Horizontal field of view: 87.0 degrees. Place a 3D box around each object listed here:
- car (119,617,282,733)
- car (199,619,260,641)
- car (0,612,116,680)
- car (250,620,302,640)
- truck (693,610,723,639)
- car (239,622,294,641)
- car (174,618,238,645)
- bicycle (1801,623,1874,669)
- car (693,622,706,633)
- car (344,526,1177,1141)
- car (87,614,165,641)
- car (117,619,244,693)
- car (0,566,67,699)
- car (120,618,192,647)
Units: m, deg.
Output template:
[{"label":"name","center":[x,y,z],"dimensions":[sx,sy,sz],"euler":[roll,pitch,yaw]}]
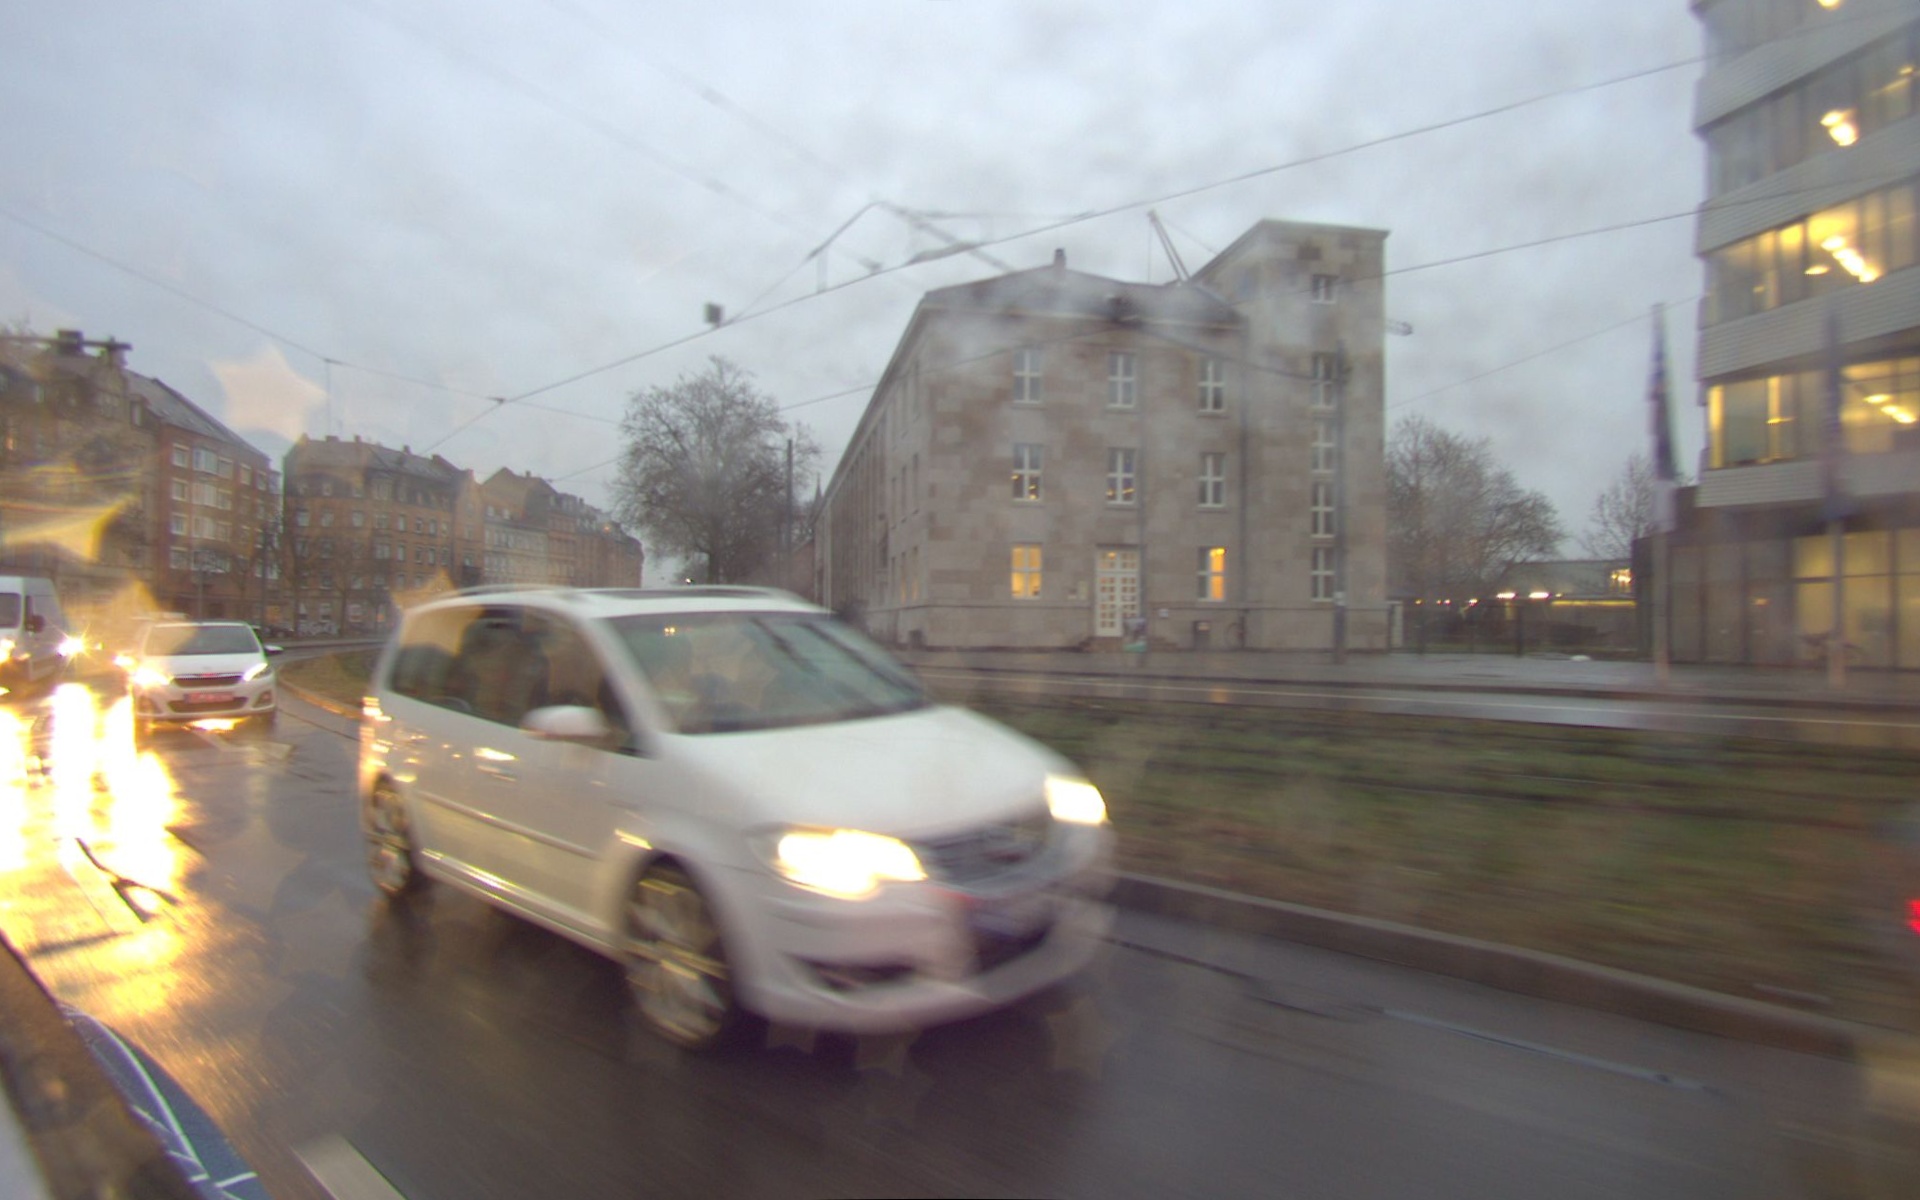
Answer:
[{"label":"car","center":[-10.945,0.972,14.503],"dimensions":[1.664,1.441,3.352],"euler":[1,-1,-40]},{"label":"car","center":[-48.128,1.960,66.735],"dimensions":[3.133,1.424,1.385],"euler":[1,-2,-32]},{"label":"car","center":[-24.350,1.184,27.312],"dimensions":[1.846,1.701,4.182],"euler":[0,-1,-32]},{"label":"car","center":[-50.583,2.213,74.869],"dimensions":[3.133,1.494,1.385],"euler":[1,-2,-32]},{"label":"truck","center":[-18.245,1.786,73.424],"dimensions":[1.809,2.060,4.008],"euler":[0,-2,-10]},{"label":"car","center":[-48.459,2.190,70.776],"dimensions":[3.133,1.293,1.385],"euler":[1,-2,-32]},{"label":"car","center":[-47.584,1.987,63.896],"dimensions":[3.133,1.636,1.449],"euler":[1,-2,-34]},{"label":"bicycle","center":[21.877,1.136,25.245],"dimensions":[1.473,1.136,0.529],"euler":[0,-2,-9]},{"label":"car","center":[-39.295,4.094,152.640],"dimensions":[1.662,1.652,3.656],"euler":[1,-2,-13]},{"label":"car","center":[-1.271,0.657,4.721],"dimensions":[4.223,1.611,1.653],"euler":[-1,-2,43]},{"label":"car","center":[-45.612,1.503,55.397],"dimensions":[3.133,1.440,1.432],"euler":[1,-2,-34]},{"label":"car","center":[-17.174,1.183,22.475],"dimensions":[1.846,1.486,4.182],"euler":[0,-2,-32]},{"label":"car","center":[-20.192,0.636,20.732],"dimensions":[2.206,2.481,5.683],"euler":[0,-1,-35]},{"label":"car","center":[-46.312,1.862,58.367],"dimensions":[3.133,1.636,1.432],"euler":[1,-2,-34]}]
